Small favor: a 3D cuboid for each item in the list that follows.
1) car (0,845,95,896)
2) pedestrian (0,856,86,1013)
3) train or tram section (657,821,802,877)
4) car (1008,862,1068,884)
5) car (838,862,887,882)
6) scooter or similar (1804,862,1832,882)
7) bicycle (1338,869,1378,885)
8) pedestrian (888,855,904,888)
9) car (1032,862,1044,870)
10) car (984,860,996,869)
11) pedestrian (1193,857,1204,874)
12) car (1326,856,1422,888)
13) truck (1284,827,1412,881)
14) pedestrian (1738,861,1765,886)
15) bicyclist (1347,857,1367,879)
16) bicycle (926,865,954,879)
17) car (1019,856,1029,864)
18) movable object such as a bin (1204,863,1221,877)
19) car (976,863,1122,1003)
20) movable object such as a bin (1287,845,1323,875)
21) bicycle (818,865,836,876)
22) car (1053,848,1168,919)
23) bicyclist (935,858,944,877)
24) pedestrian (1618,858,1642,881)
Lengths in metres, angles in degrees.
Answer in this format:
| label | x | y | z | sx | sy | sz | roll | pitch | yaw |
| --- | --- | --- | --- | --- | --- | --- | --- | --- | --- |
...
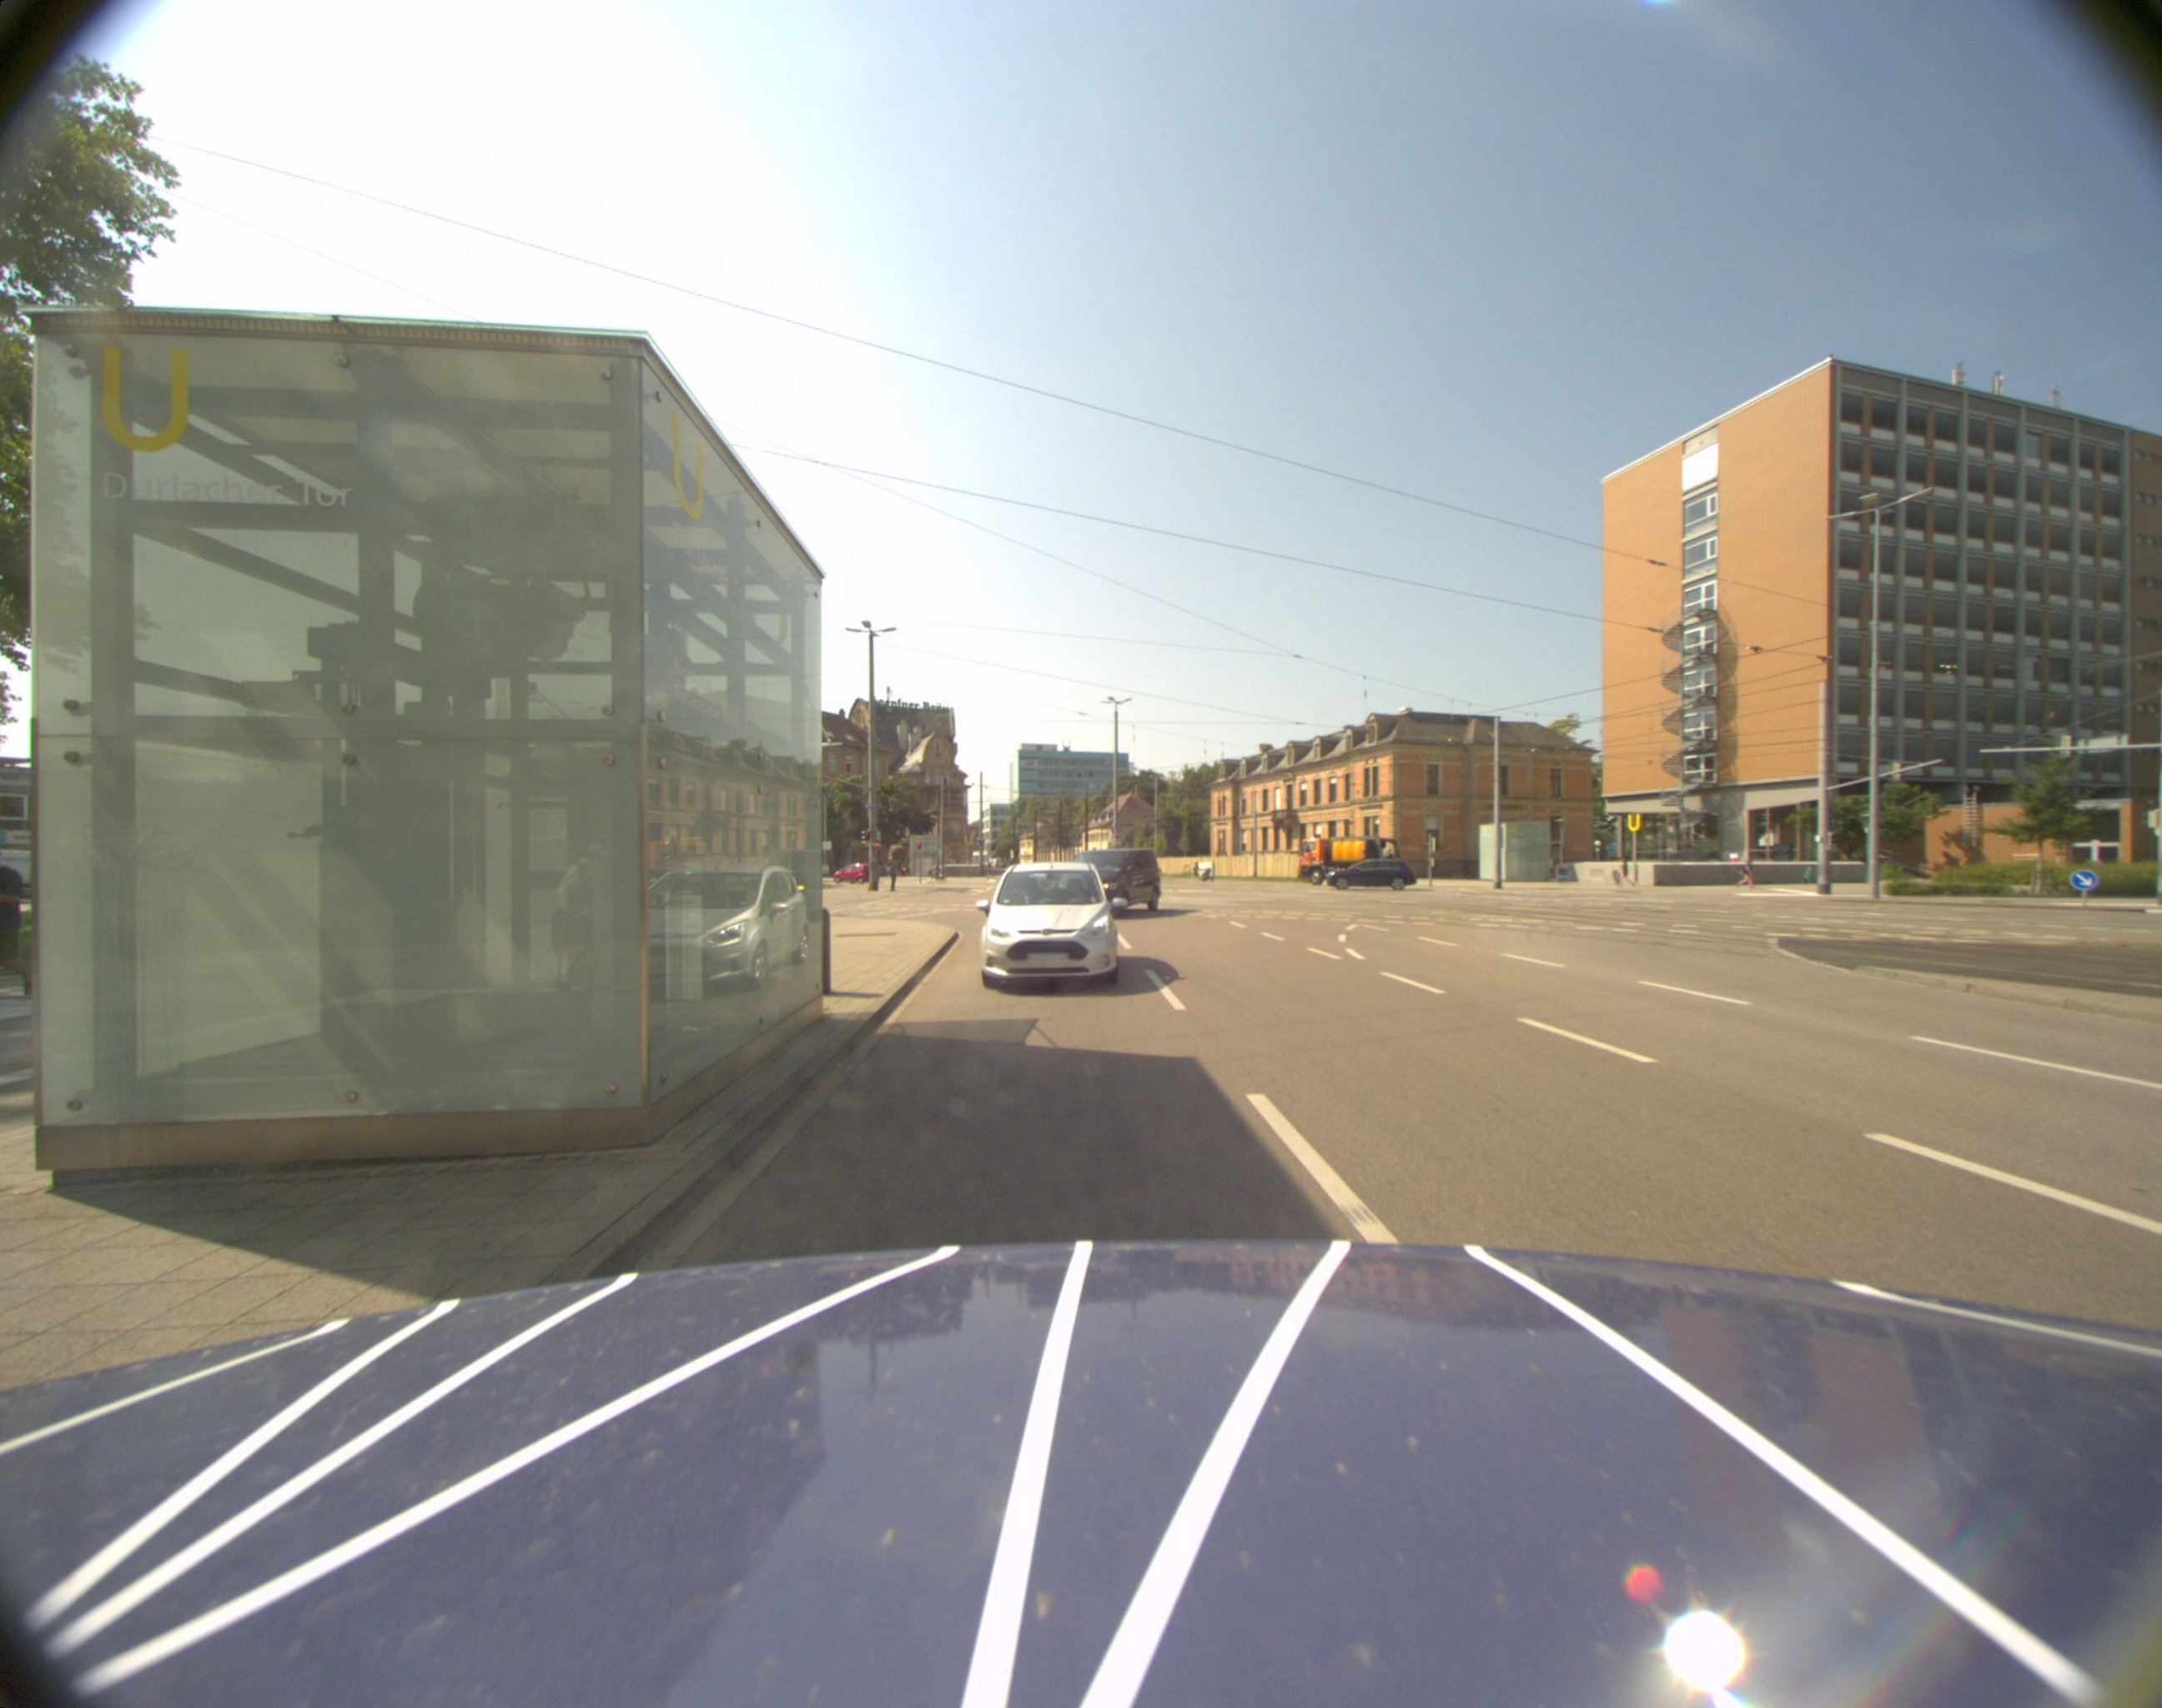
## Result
| label | x | y | z | sx | sy | sz | roll | pitch | yaw |
| --- | --- | --- | --- | --- | --- | --- | --- | --- | --- |
| car | -55.717 | 0.865 | 39.613 | 1.847 | 2.568 | 5.218 | 0 | -2 | -2 |
| pedestrian | -11.507 | 0.832 | 7.991 | 0.793 | 1.600 | 0.949 | 0 | 1 | -5 |
| train or tram section | -24.361 | -0.285 | 52.250 | 12.183 | 3.539 | 2.601 | 0 | 0 | 31 |
| car | -2.761 | 1.202 | 48.314 | 3.499 | 1.331 | 1.520 | 0 | 1 | 25 |
| car | -15.904 | 1.267 | 55.238 | 3.350 | 1.400 | 1.520 | 0 | 0 | 29 |
| scooter or similar | 44.160 | 1.081 | 45.509 | 1.143 | 1.150 | 0.444 | 0 | 0 | 13 |
| bicycle | 16.062 | 1.333 | 44.030 | 2.165 | 0.893 | 0.642 | 0 | 0 | 21 |
| pedestrian | -9.588 | 0.913 | 39.302 | 0.719 | 1.677 | 0.804 | -3 | -1 | -16 |
| car | -9.062 | 2.524 | 159.426 | 2.000 | 1.673 | 3.997 | 0 | -2 | -10 |
| car | -14.264 | 1.645 | 119.409 | 1.376 | 1.389 | 3.252 | 0 | -2 | -16 |
| pedestrian | 9.275 | 0.905 | 59.850 | 0.815 | 1.343 | 0.720 | 0 | 0 | 6 |
| car | 15.624 | 0.929 | 40.723 | 4.689 | 1.631 | 2.003 | 0 | 0 | 19 |
| truck | 17.029 | 0.116 | 48.914 | 3.049 | 3.209 | 7.172 | 1 | -2 | -41 |
| pedestrian | 37.954 | 1.115 | 43.043 | 0.847 | 1.386 | 0.787 | 0 | 0 | 1 |
| bicyclist | 16.023 | 0.813 | 44.160 | 1.103 | 1.258 | 0.858 | 0 | 0 | 19 |
| bicycle | -11.185 | 1.395 | 60.375 | 2.126 | 1.105 | 0.441 | 0 | 0 | 2 |
| car | -13.272 | 1.418 | 176.815 | 2.000 | 1.892 | 3.997 | 0 | -2 | -10 |
| movable object such as a bin | 10.287 | 1.250 | 59.554 | 1.035 | 1.078 | 0.822 | -2 | -2 | 40 |
| car | -0.411 | 0.944 | 11.023 | 1.692 | 1.585 | 4.360 | 0 | 0 | -1 |
| movable object such as a bin | 20.308 | 0.526 | 69.138 | 1.817 | 2.656 | 4.454 | 0 | 0 | -2 |
| bicycle | -23.228 | 1.490 | 69.612 | 0.460 | 0.952 | 1.791 | 0 | 0 | 25 |
| car | 1.028 | 0.800 | 23.019 | 1.896 | 1.919 | 4.893 | 0 | 0 | 22 |
| bicyclist | -11.244 | 1.050 | 60.388 | 0.644 | 1.472 | 0.658 | 0 | 0 | 0 |
| pedestrian | 33.288 | 0.920 | 46.065 | 0.847 | 1.386 | 0.787 | 0 | 0 | 1 |
